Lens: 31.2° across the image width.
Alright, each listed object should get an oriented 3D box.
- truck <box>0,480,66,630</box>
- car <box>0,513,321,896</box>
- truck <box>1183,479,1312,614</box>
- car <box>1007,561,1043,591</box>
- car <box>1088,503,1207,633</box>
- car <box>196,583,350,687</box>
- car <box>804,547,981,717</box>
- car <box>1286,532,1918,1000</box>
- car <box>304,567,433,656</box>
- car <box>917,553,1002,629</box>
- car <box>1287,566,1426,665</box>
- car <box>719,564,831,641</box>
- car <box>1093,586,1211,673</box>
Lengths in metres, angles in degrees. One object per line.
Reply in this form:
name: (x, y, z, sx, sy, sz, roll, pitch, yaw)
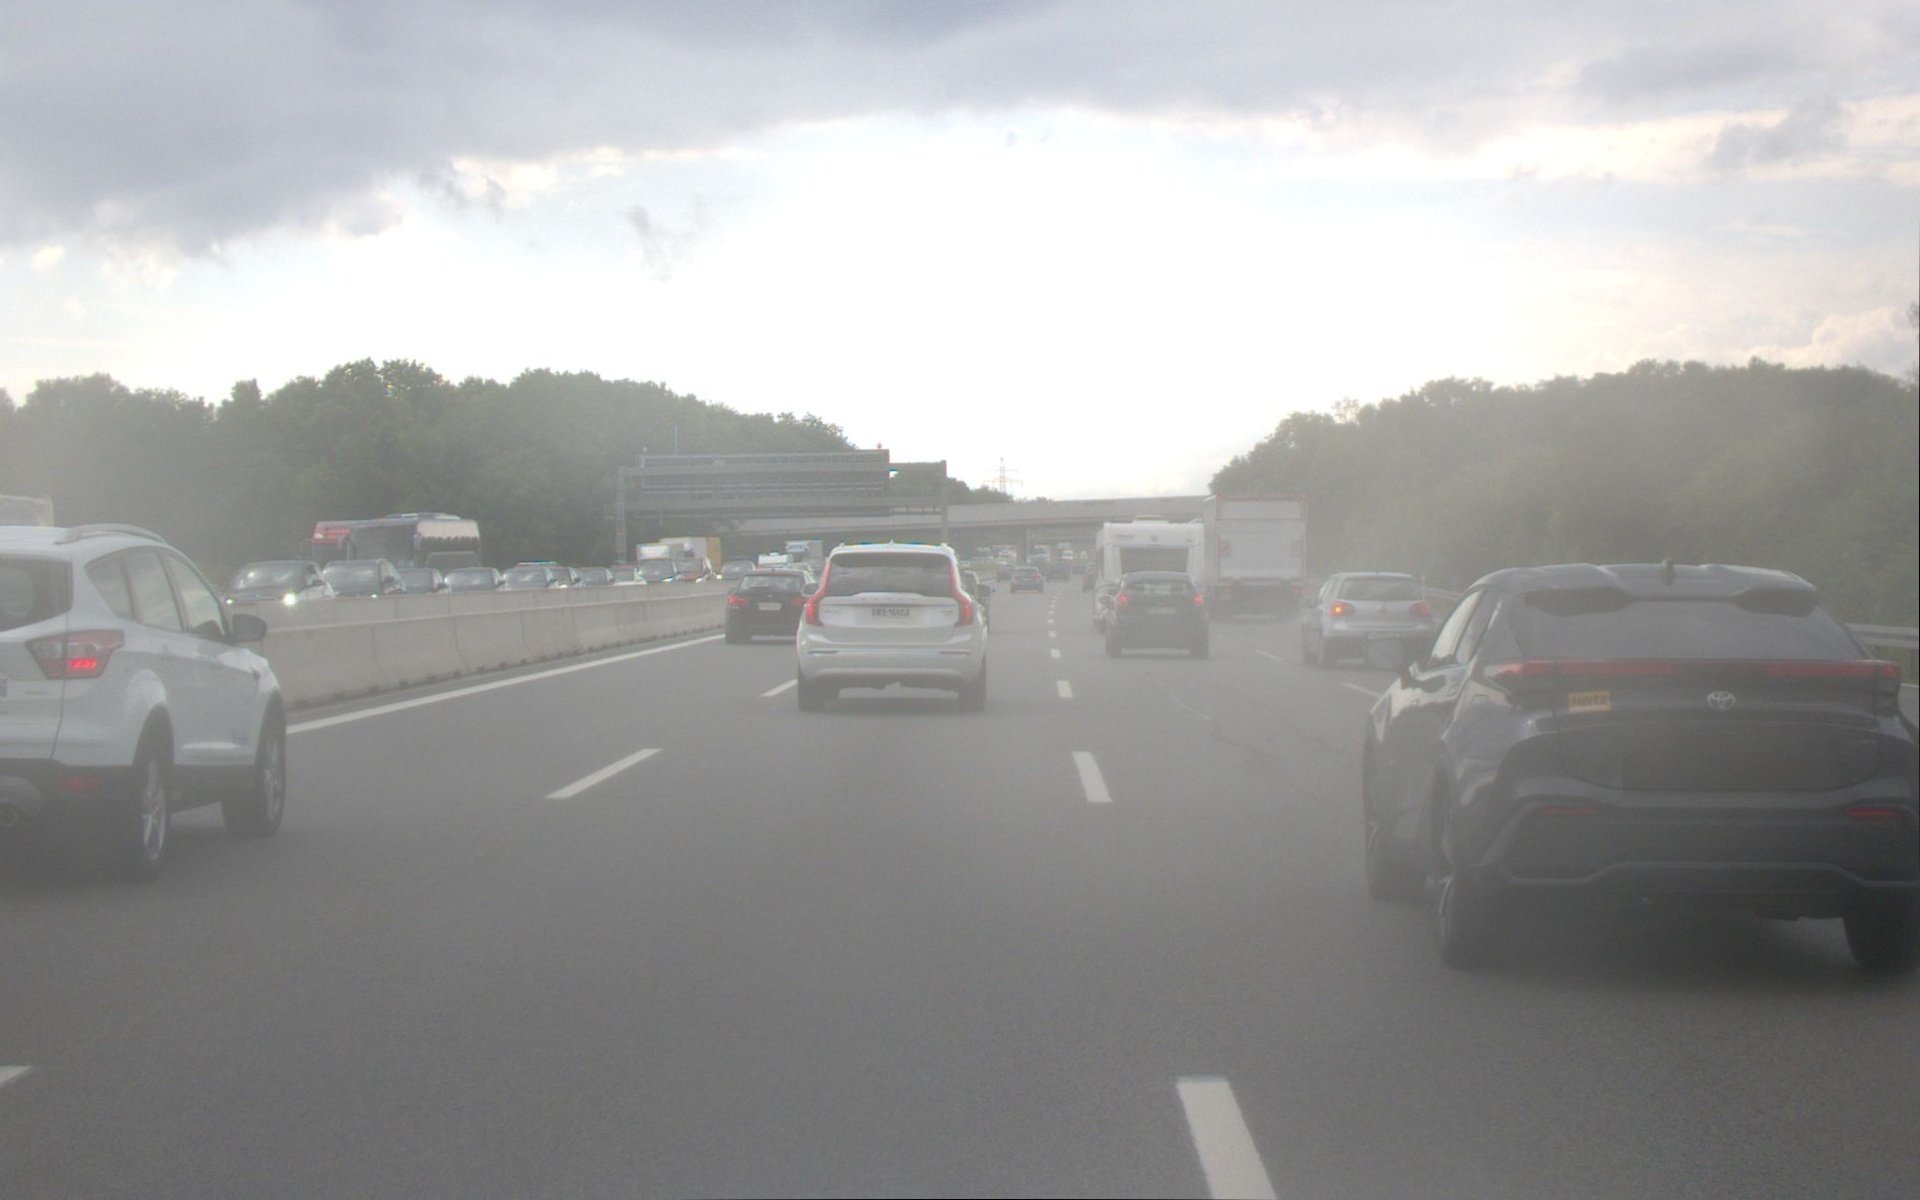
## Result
truck: (-25.490, -1.131, 84.787, 3.148, 3.732, 13.299, 0, 1, 1)
car: (-4.625, 0.422, 17.529, 1.815, 1.684, 4.852, 0, 1, 0)
truck: (8.243, -1.536, 99.635, 3.133, 3.697, 9.847, 0, 1, 1)
car: (3.614, -1.341, 190.943, 1.881, 1.680, 4.000, 0, 1, 0)
car: (4.332, -0.755, 80.649, 2.567, 2.885, 7.533, 0, 1, 1)
car: (-13.593, 0.661, 68.284, 1.993, 1.960, 4.696, 0, 1, 2)
car: (-0.688, 0.302, 36.891, 1.781, 1.710, 4.353, 0, 1, 0)
car: (2.435, 0.549, 14.179, 1.781, 1.607, 4.598, 0, 1, 1)
car: (-13.466, 0.239, 78.534, 1.993, 1.960, 4.696, 0, 1, 2)
car: (-0.024, -0.220, 79.121, 1.881, 1.680, 4.000, 0, 1, 0)
car: (6.129, 0.207, 53.520, 1.795, 1.472, 4.037, 0, 1, 2)
car: (-3.627, 0.021, 68.071, 1.781, 1.476, 4.352, 0, 1, 3)
car: (3.268, 0.485, 59.155, 1.885, 1.402, 4.282, 0, 1, 1)
